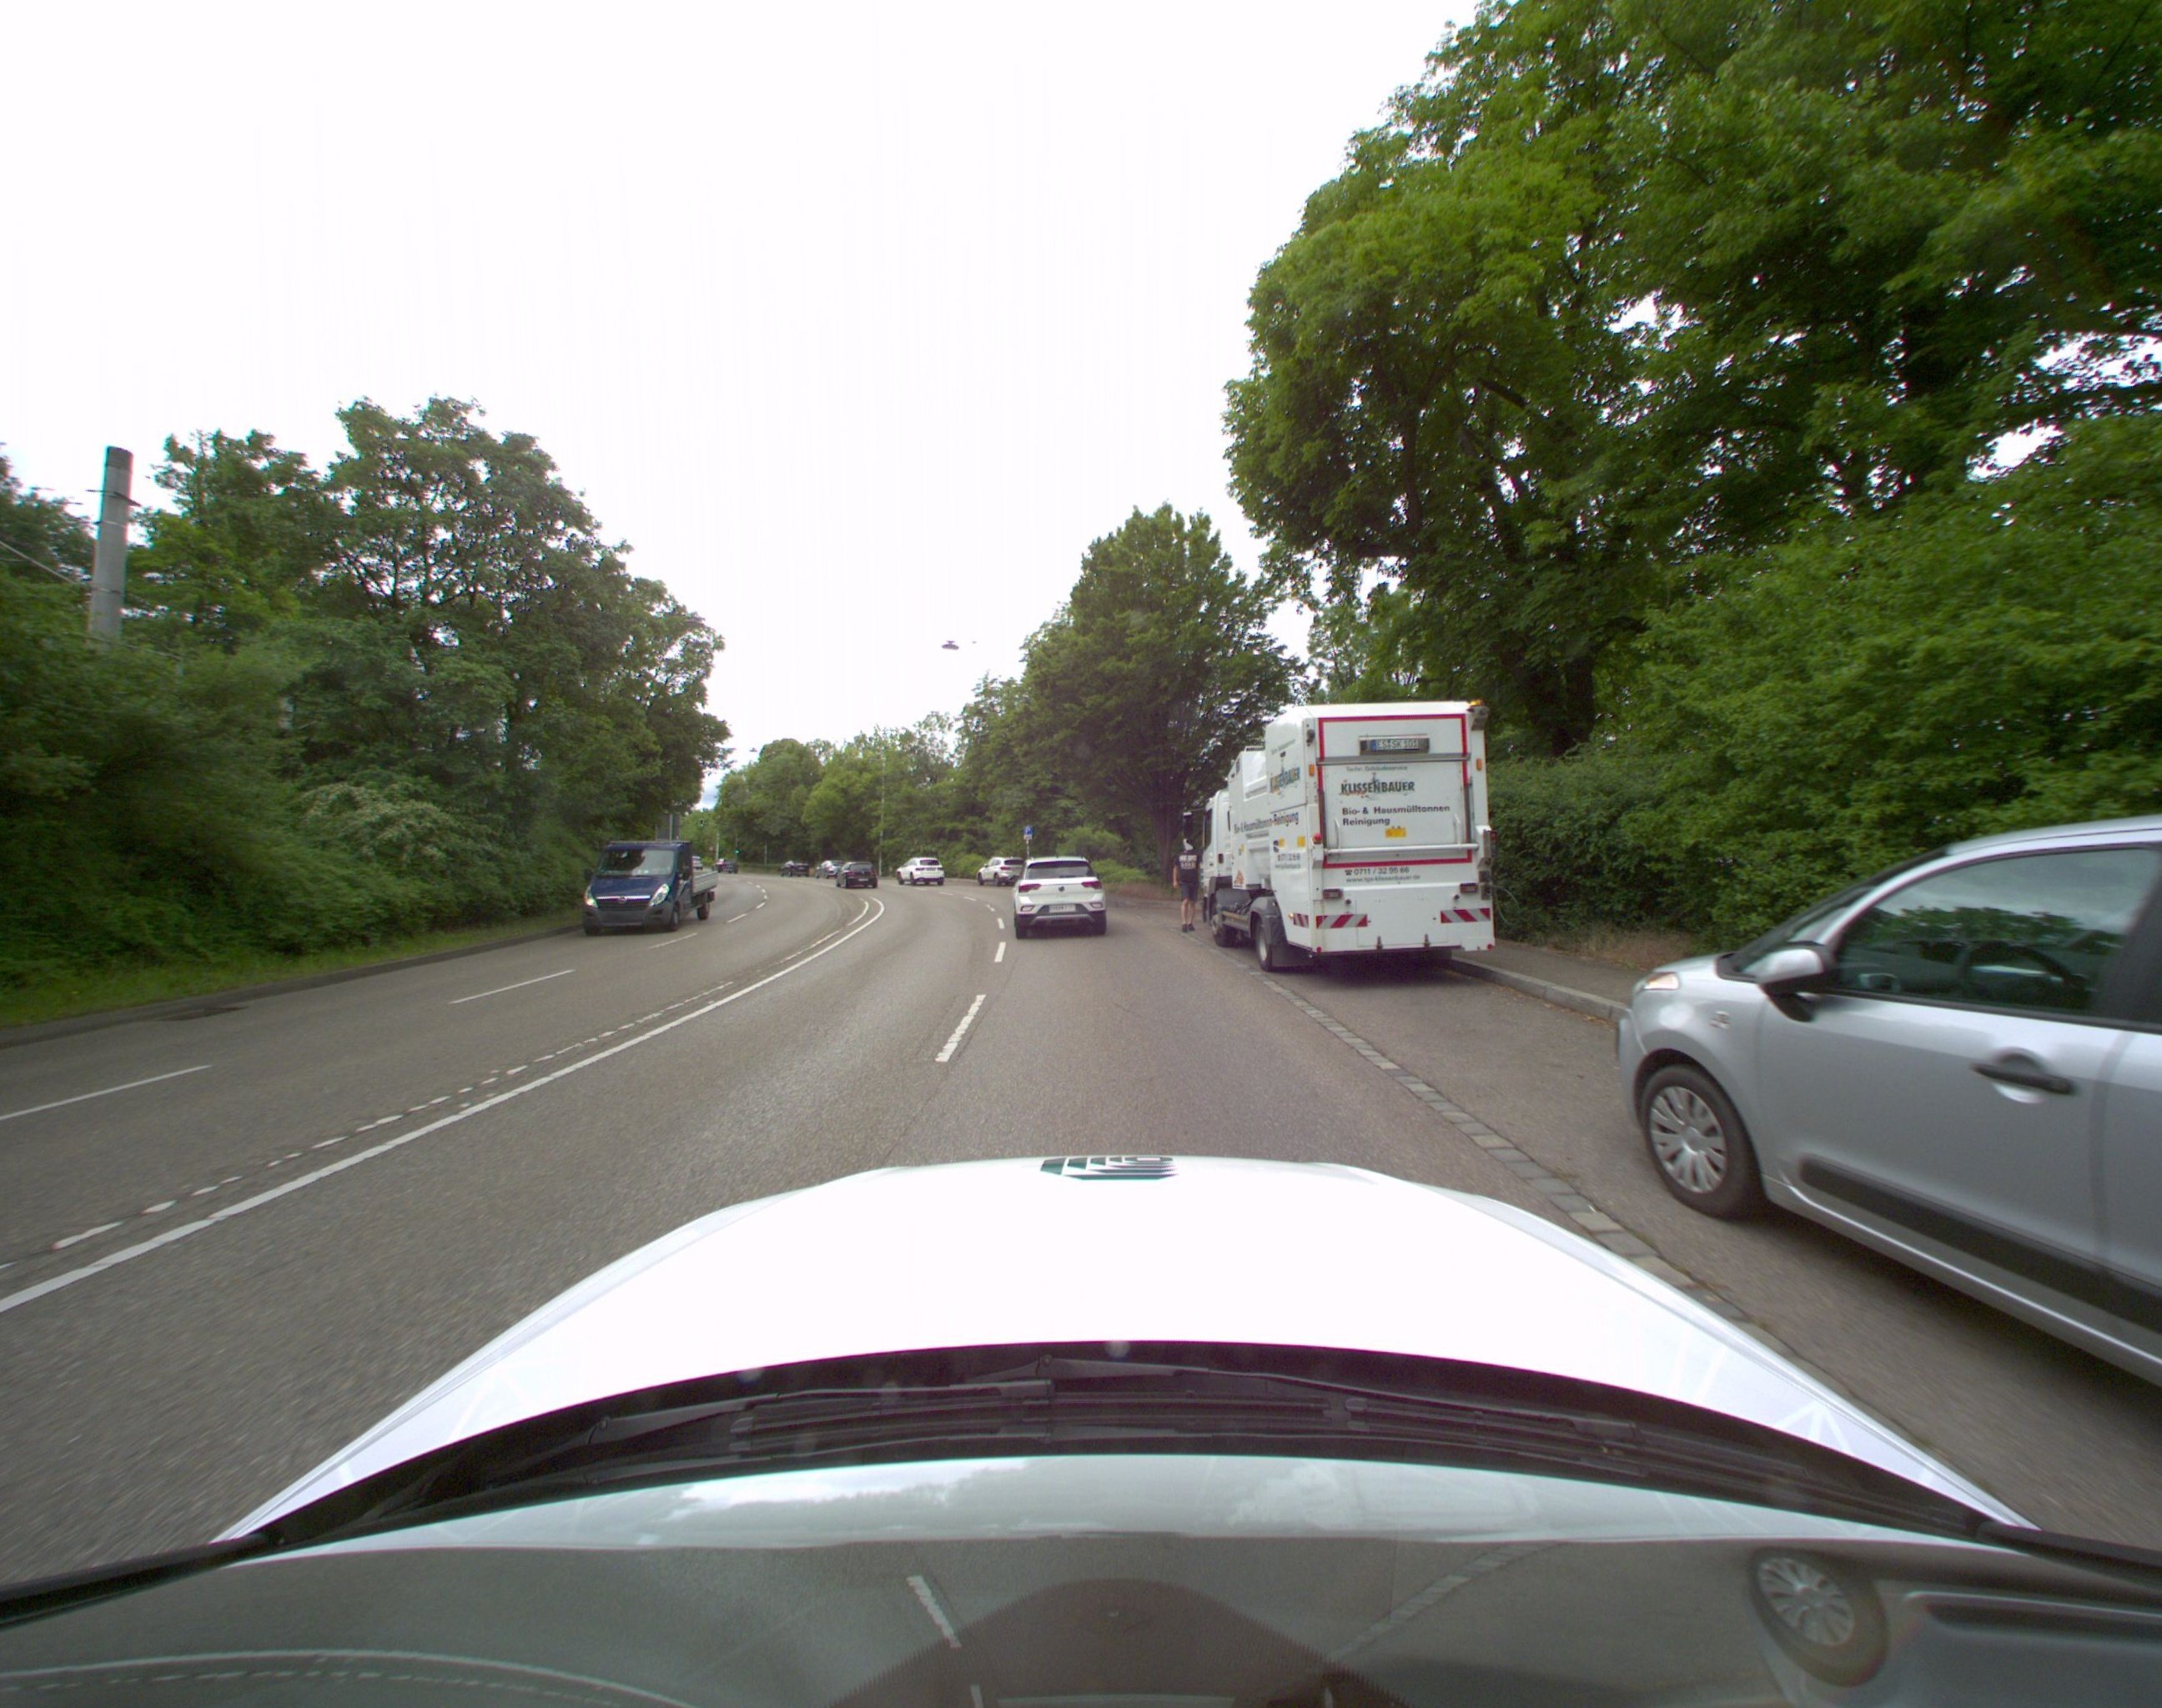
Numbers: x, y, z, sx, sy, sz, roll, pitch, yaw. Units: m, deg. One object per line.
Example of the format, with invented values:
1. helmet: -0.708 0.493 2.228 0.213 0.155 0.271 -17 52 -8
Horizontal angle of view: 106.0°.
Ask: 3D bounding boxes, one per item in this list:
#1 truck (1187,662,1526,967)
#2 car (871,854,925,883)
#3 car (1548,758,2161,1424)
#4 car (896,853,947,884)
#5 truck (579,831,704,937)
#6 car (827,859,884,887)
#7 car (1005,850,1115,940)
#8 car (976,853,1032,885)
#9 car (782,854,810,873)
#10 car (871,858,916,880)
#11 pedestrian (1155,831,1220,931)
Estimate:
1. truck: 3.385 -0.402 12.210 2.475 3.182 7.225 -1 0 -1
2. car: -11.844 0.935 52.554 2.009 1.717 3.956 2 -1 -36
3. car: 3.358 0.517 2.299 1.796 1.524 4.000 -2 -1 1
4. car: -9.515 0.833 48.362 1.862 1.702 3.964 -2 0 -28
5. truck: -11.690 0.710 22.173 2.169 2.370 6.629 -2 0 -22
6. car: -12.580 1.034 45.238 1.962 1.466 3.960 2 -1 -32
7. car: -0.522 0.769 16.972 1.997 1.596 3.994 2 -1 -4
8. car: -4.320 0.804 45.147 1.766 1.652 4.346 -1 0 -24
9. car: -25.905 0.880 73.924 1.776 1.607 3.963 2 -1 -29
10. car: -13.835 1.051 59.887 1.745 1.482 4.653 2 -1 -33
11. pedestrian: 2.150 0.532 16.554 0.913 1.833 0.985 11 0 3
